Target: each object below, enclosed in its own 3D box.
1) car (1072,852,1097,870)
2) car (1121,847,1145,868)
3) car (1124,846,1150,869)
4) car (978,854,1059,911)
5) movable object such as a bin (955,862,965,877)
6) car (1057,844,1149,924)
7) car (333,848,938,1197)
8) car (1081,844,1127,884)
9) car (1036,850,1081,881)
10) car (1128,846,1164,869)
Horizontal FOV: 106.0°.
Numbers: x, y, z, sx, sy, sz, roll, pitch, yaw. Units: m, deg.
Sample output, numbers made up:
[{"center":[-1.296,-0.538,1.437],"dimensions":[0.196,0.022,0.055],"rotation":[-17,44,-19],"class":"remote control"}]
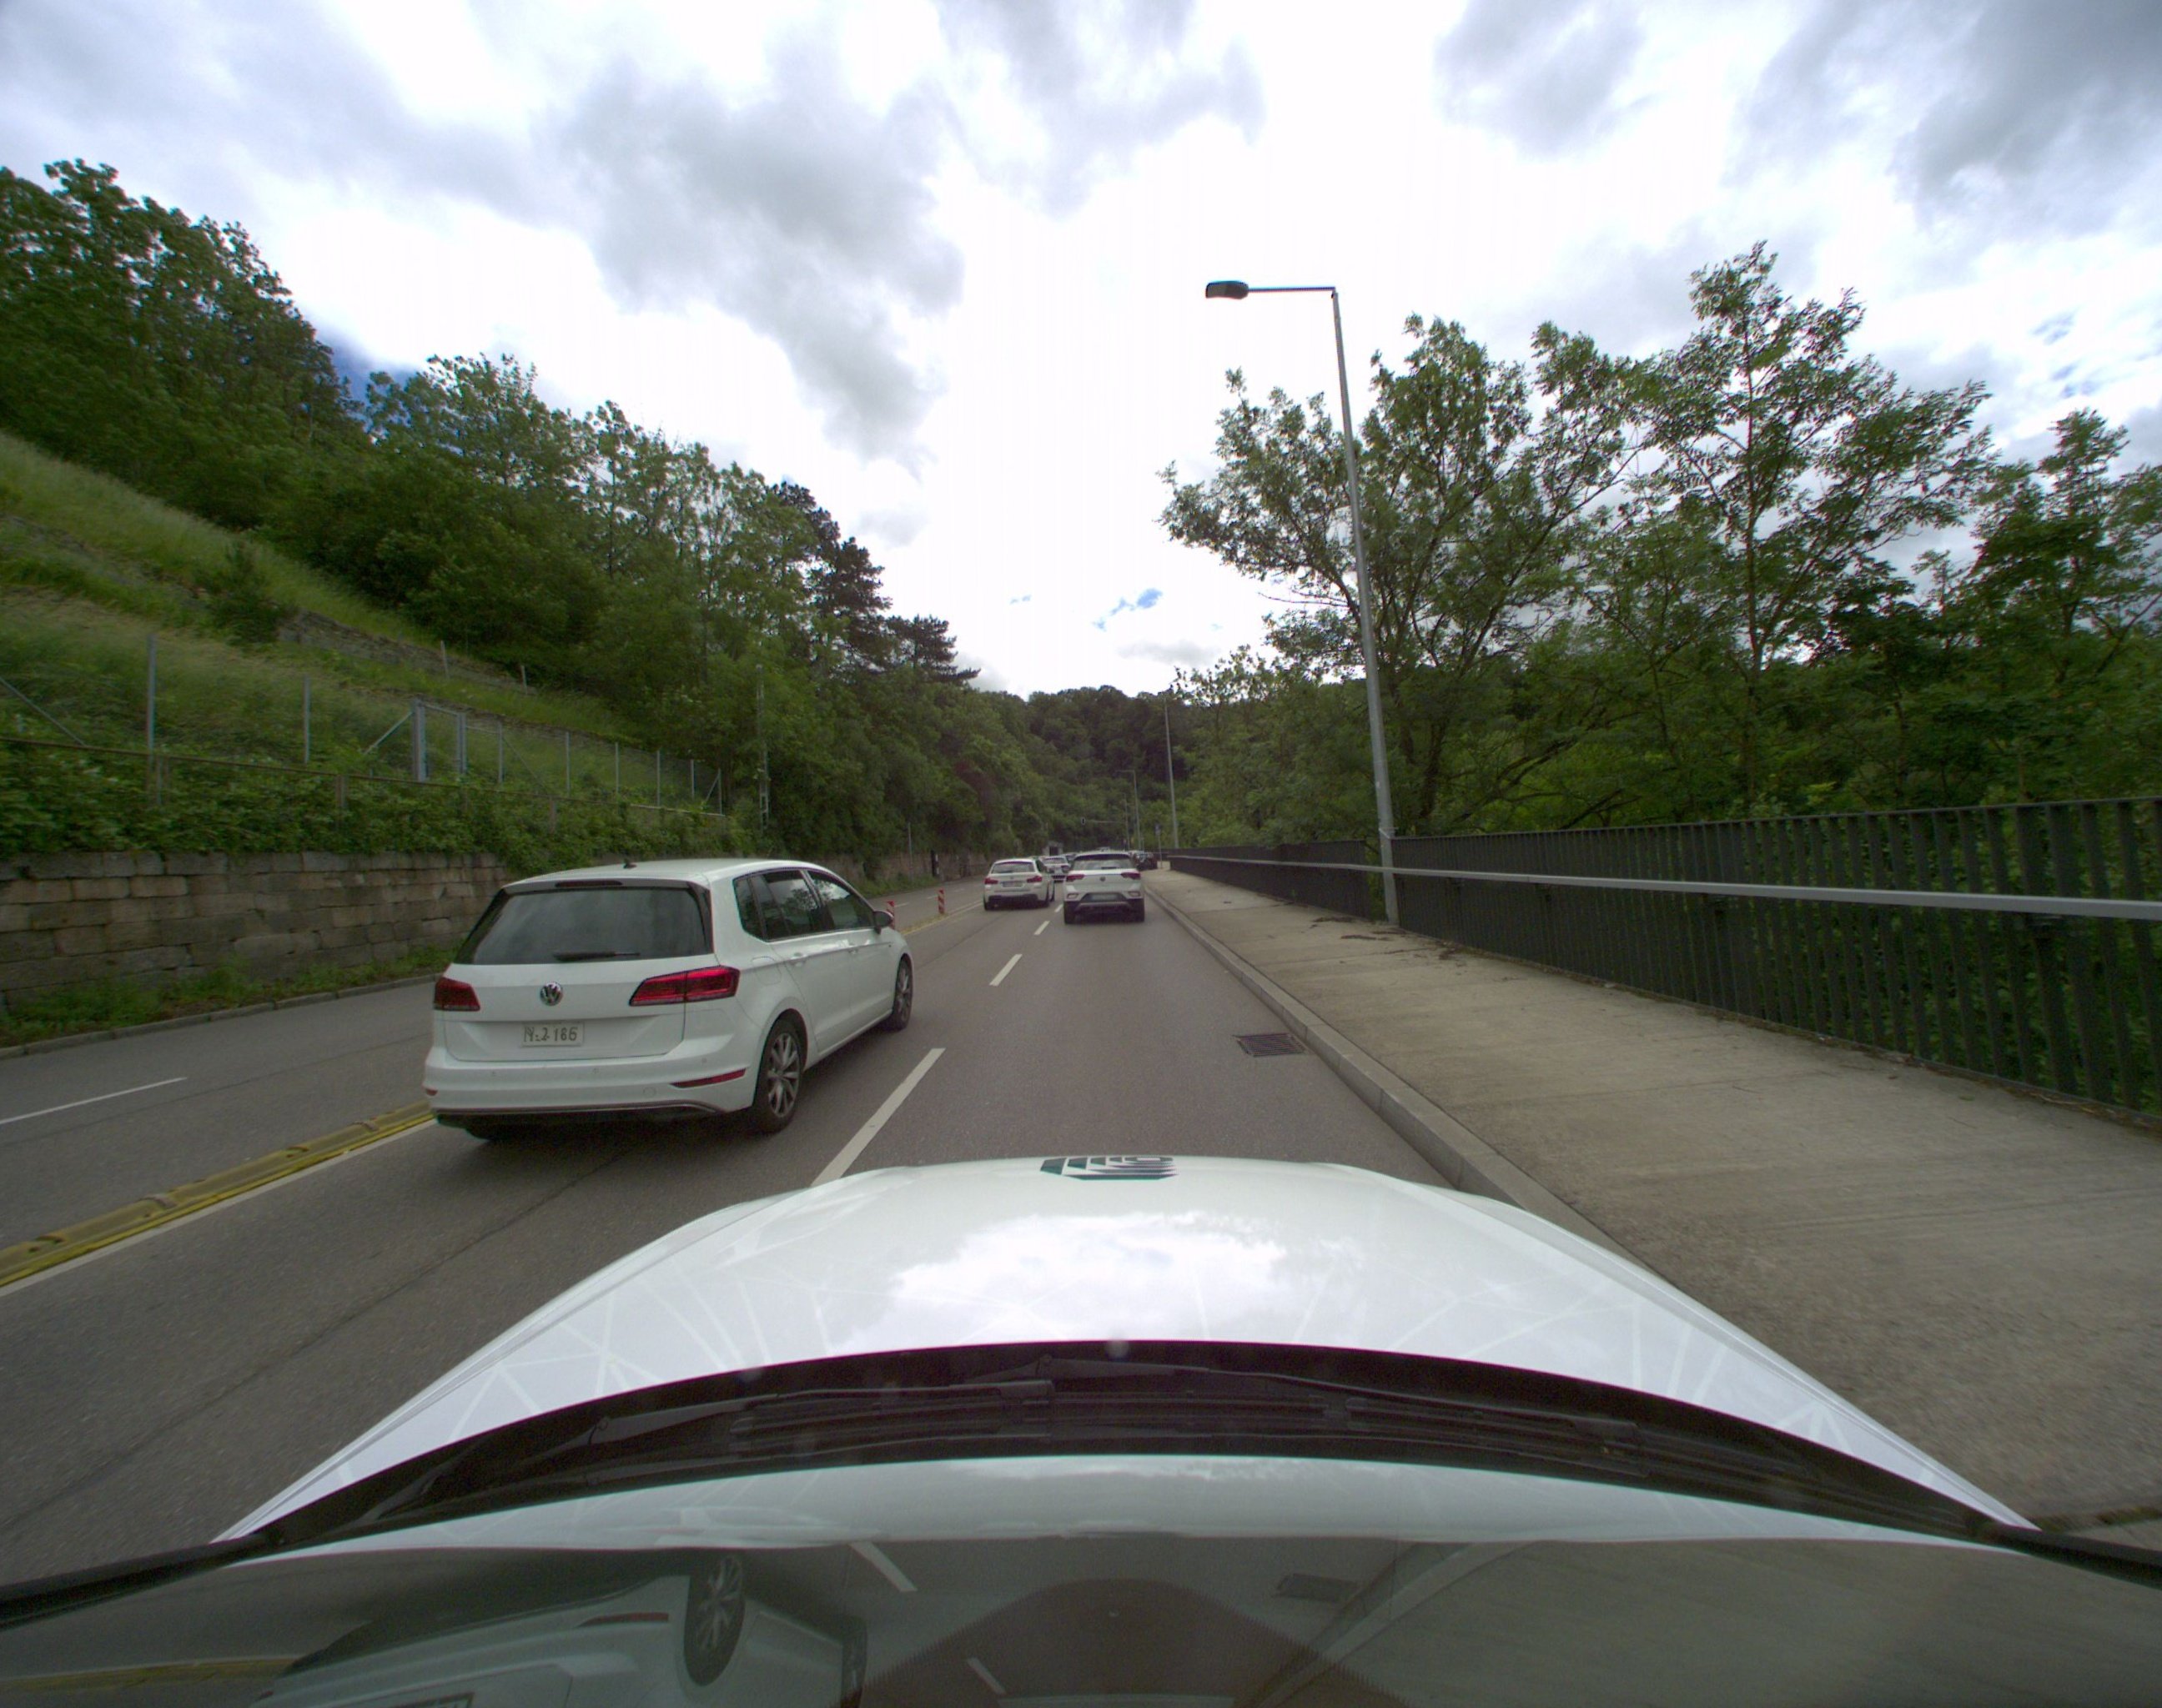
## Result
[{"center":[0.330,0.627,75.907],"dimensions":[1.985,1.503,4.672],"rotation":[-3,1,3],"class":"car"},{"center":[4.736,0.312,74.268],"dimensions":[1.986,1.718,4.116],"rotation":[-2,1,2],"class":"car"},{"center":[4.696,0.296,68.420],"dimensions":[1.986,1.718,4.116],"rotation":[-2,1,2],"class":"car"},{"center":[-1.792,0.789,24.753],"dimensions":[1.820,1.459,4.489],"rotation":[-3,0,2],"class":"car"},{"center":[-10.154,1.286,68.334],"dimensions":[0.714,1.175,0.676],"rotation":[-3,0,2],"class":"movable object such as a bin"},{"center":[0.618,0.627,19.007],"dimensions":[1.819,1.605,4.006],"rotation":[-2,0,6],"class":"car"},{"center":[-2.502,0.819,6.015],"dimensions":[1.813,1.580,4.360],"rotation":[-3,-1,3],"class":"car"},{"center":[1.190,0.460,40.324],"dimensions":[1.985,1.718,4.118],"rotation":[-4,0,4],"class":"car"},{"center":[-1.196,0.598,45.812],"dimensions":[1.984,1.503,4.673],"rotation":[-3,0,4],"class":"car"},{"center":[4.436,0.236,56.311],"dimensions":[1.812,1.508,3.993],"rotation":[-2,0,-5],"class":"car"}]
